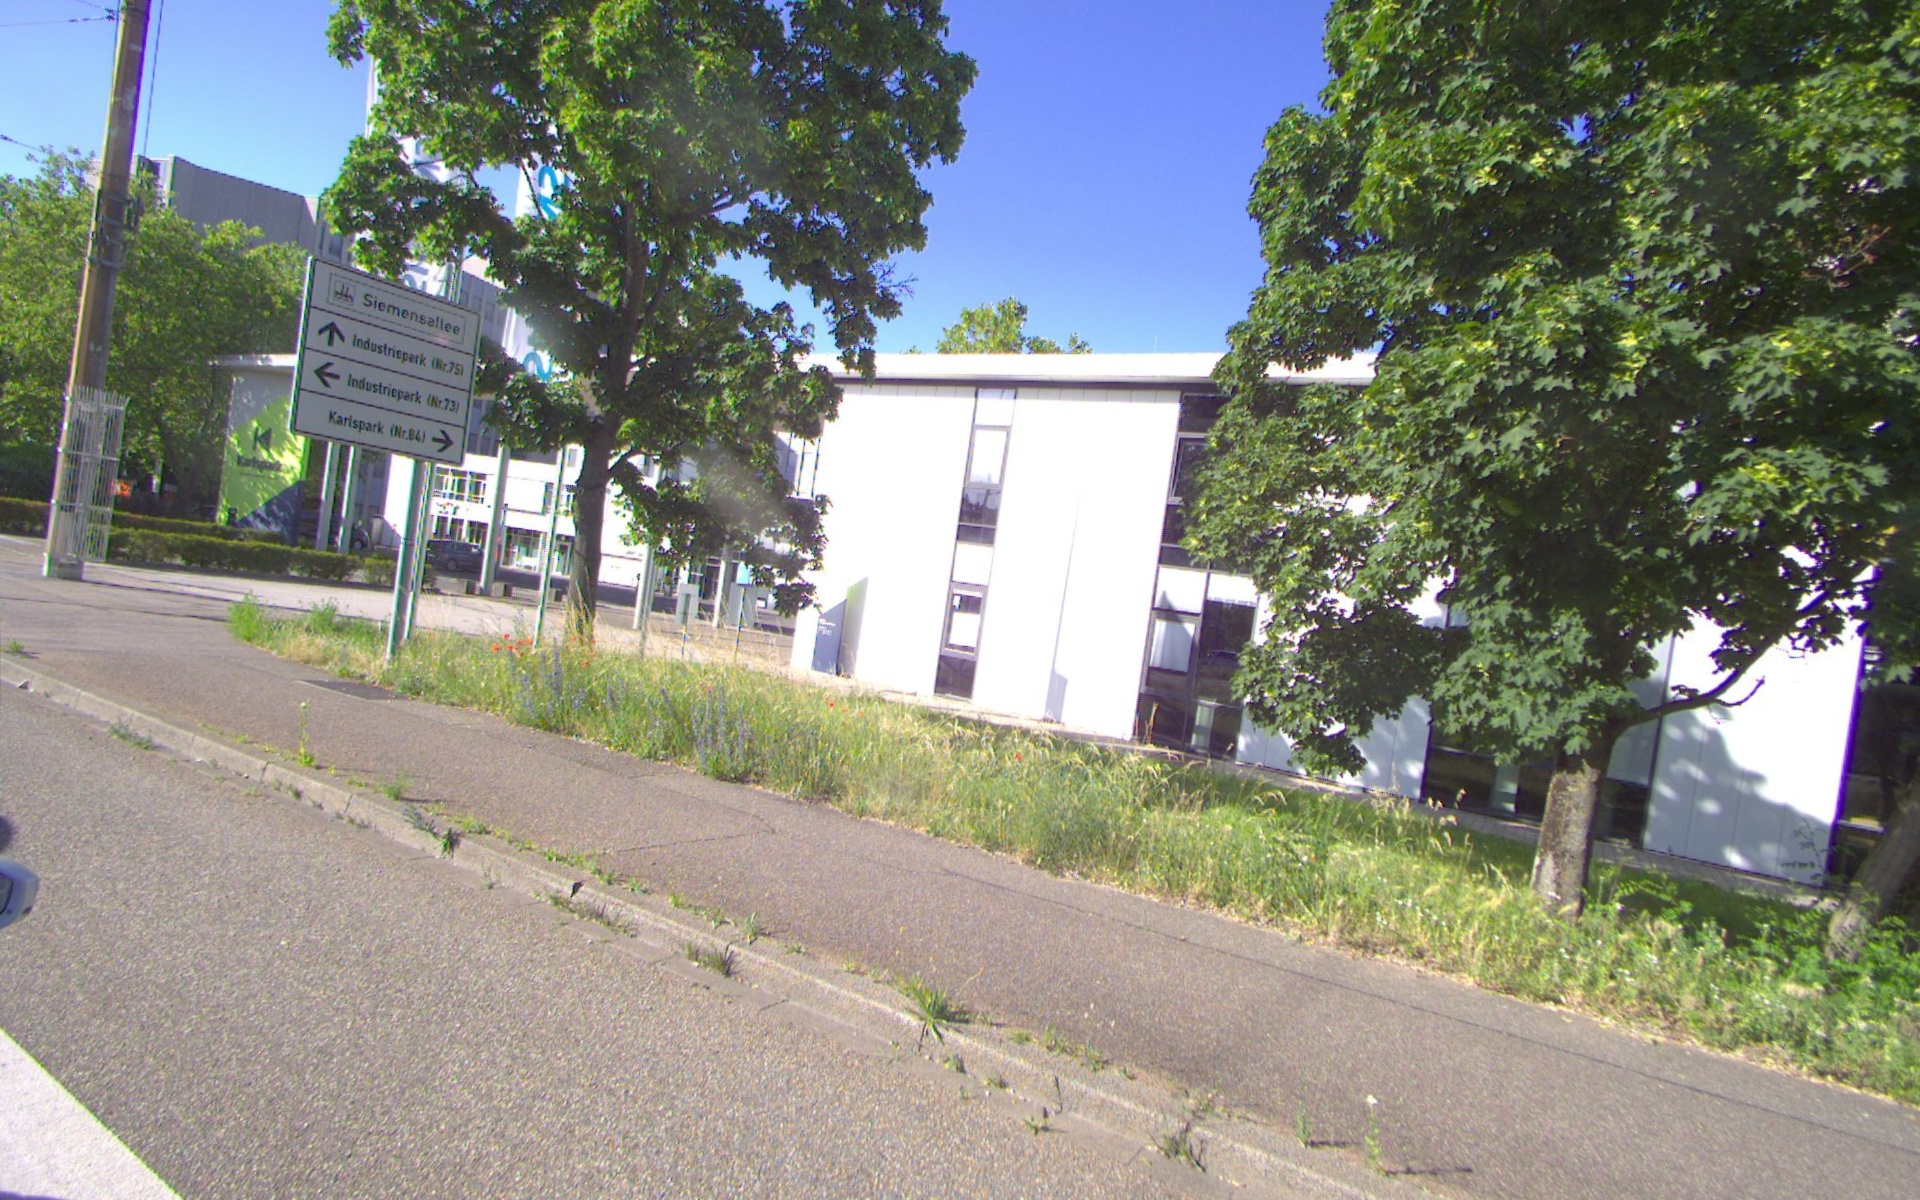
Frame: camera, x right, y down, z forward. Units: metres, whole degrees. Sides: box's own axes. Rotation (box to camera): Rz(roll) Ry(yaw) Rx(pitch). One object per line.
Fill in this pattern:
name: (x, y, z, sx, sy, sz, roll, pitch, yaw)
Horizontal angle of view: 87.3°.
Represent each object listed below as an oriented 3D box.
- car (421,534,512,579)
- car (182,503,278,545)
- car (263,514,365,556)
car: (-26.286, -2.284, 53.717, 1.865, 1.741, 4.001, 8, -1, 22)
car: (-42.791, -4.439, 59.066, 1.963, 1.778, 4.002, 7, -1, 19)
car: (-36.212, -3.634, 56.562, 1.841, 1.649, 4.553, 7, -1, 19)
